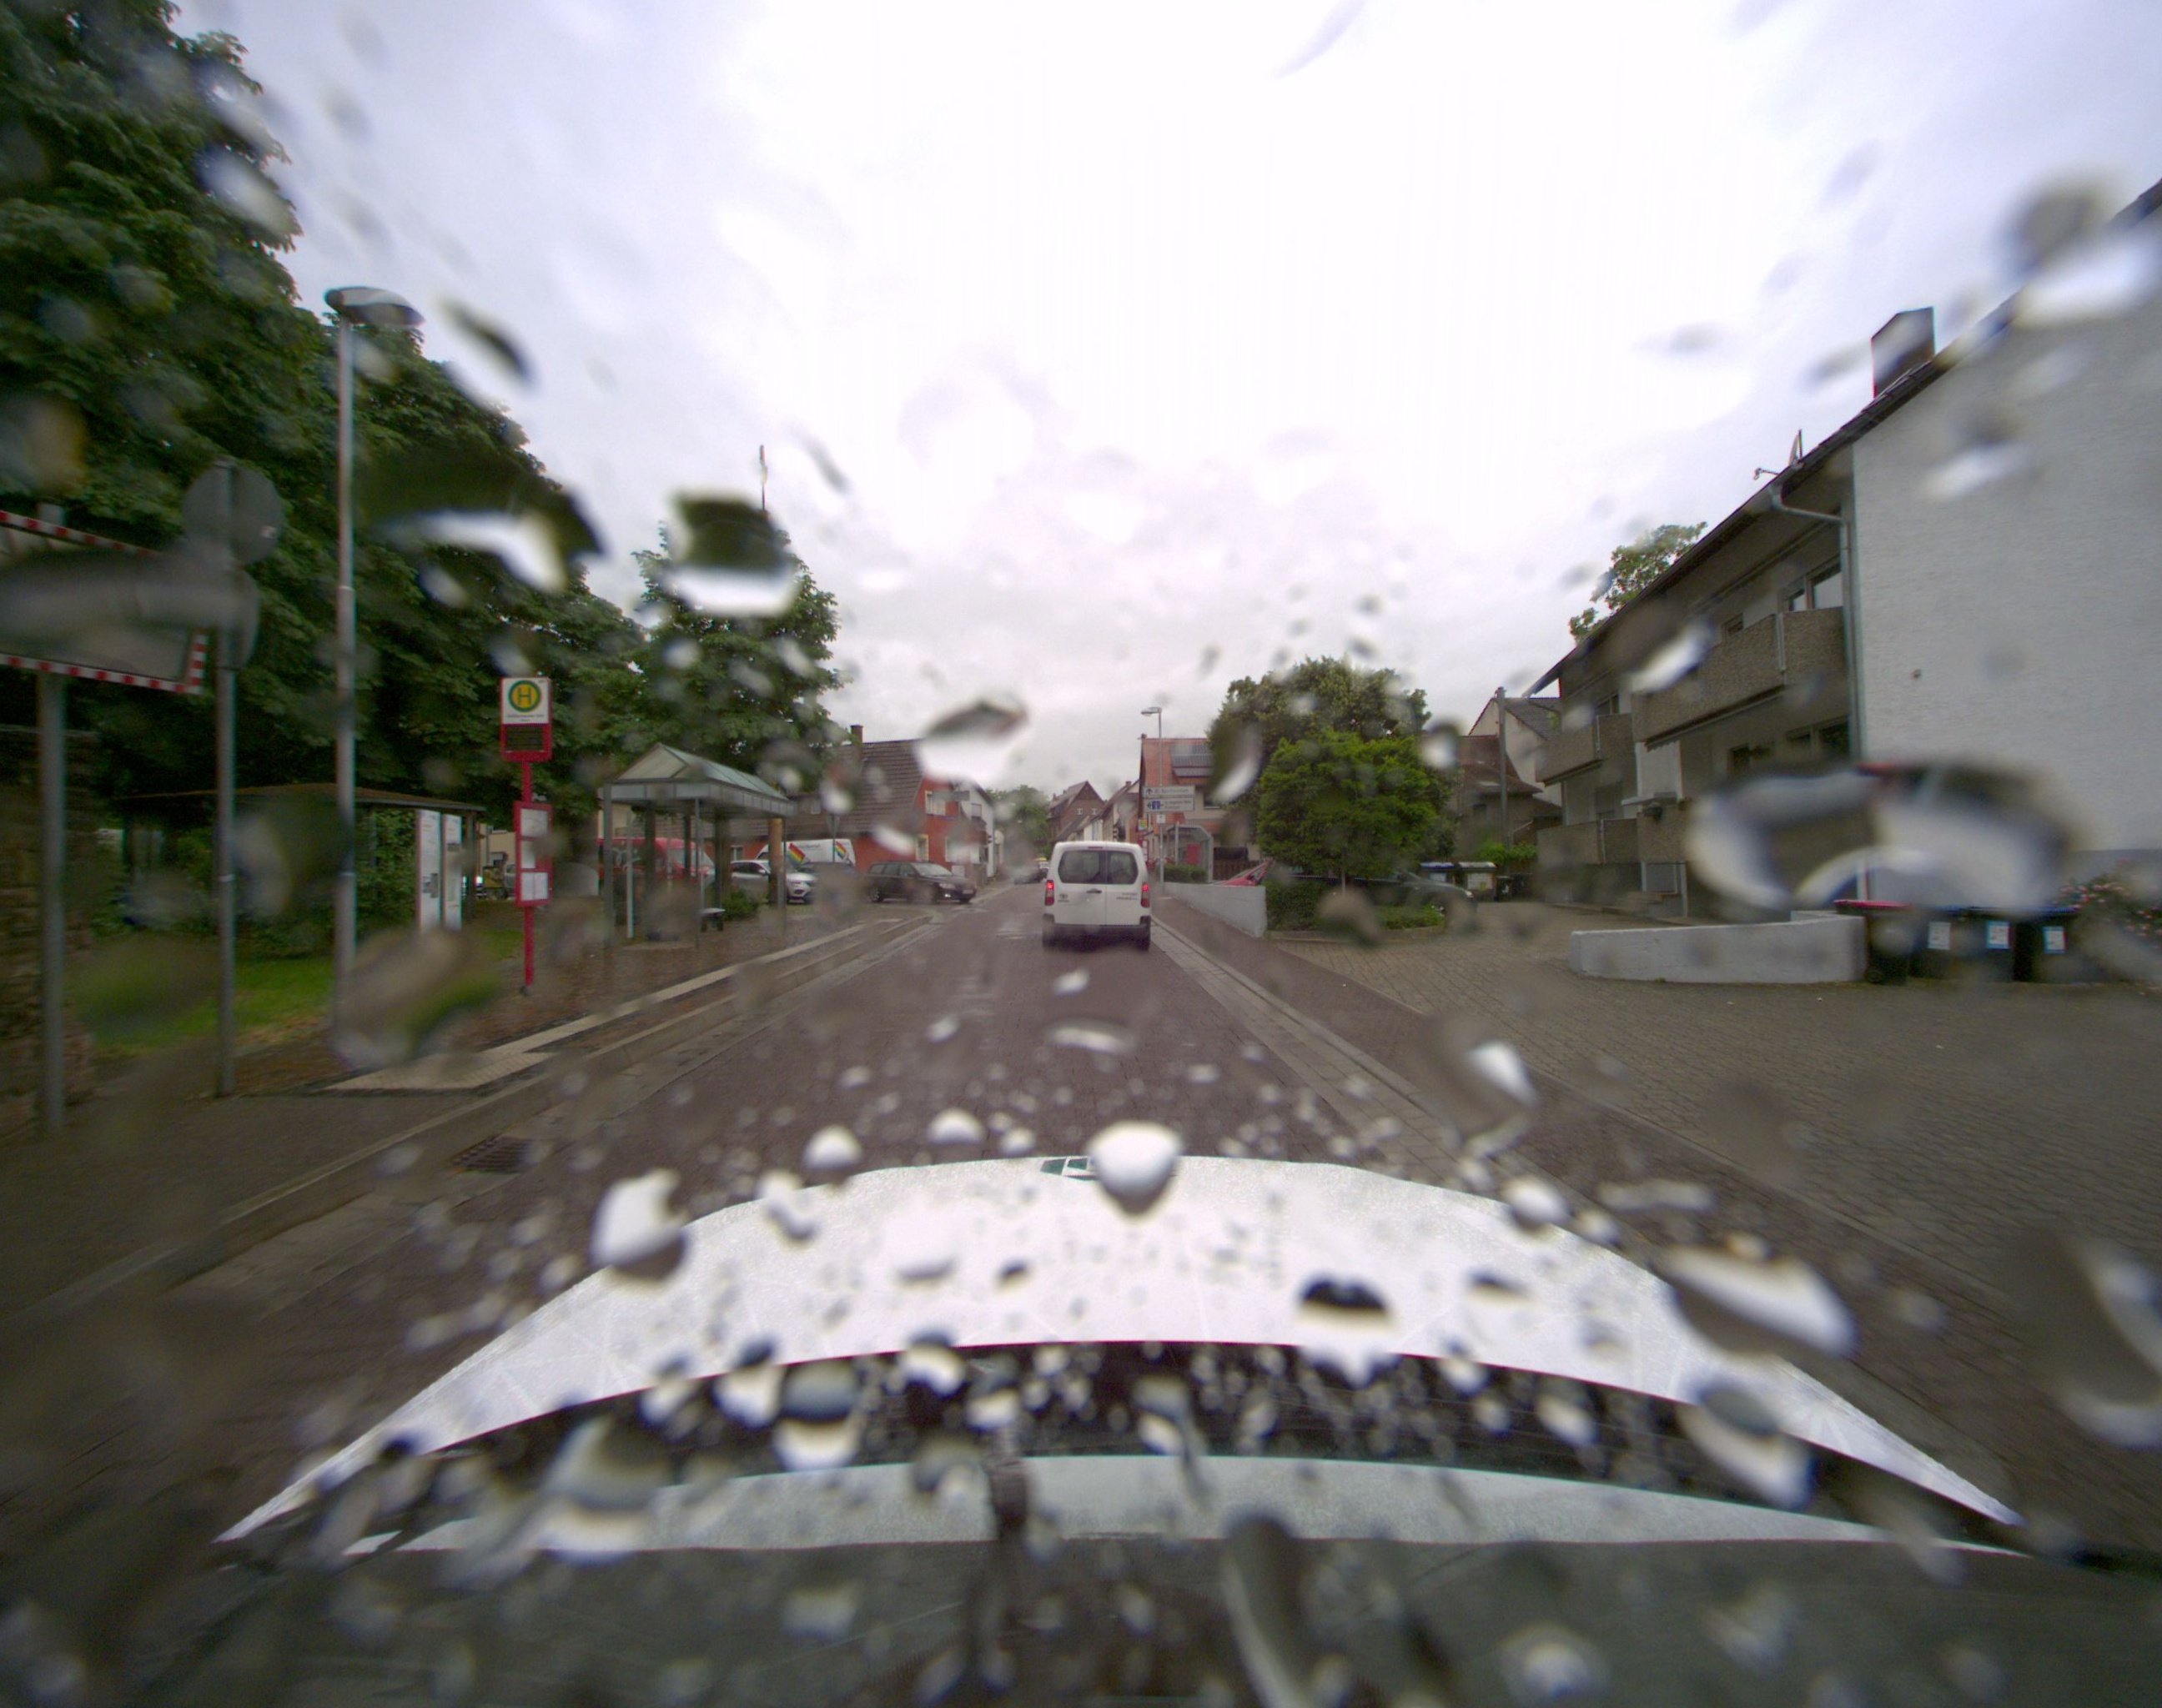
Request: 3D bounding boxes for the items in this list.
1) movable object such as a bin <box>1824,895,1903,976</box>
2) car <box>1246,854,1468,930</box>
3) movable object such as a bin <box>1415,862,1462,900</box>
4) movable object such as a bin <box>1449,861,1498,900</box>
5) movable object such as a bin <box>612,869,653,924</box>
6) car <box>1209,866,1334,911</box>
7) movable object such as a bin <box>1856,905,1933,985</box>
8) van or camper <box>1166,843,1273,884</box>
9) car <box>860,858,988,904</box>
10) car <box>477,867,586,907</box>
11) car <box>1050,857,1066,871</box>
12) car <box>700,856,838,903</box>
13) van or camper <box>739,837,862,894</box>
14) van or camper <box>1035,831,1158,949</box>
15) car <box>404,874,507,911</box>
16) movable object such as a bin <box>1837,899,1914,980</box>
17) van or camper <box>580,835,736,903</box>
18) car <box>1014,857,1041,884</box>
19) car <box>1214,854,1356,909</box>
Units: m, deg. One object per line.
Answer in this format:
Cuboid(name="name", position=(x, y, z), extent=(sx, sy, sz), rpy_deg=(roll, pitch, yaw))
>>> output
Cuboid(name="movable object such as a bin", position=(11.575, 1.183, 12.065), extent=(0.618, 1.118, 0.694), rpy_deg=(0, -1, 21))
Cuboid(name="car", position=(5.665, 0.778, 17.117), extent=(4.198, 1.480, 1.701), rpy_deg=(-1, -1, 13))
Cuboid(name="movable object such as a bin", position=(12.975, 0.977, 29.588), extent=(1.238, 1.357, 1.155), rpy_deg=(0, 0, 0))
Cuboid(name="movable object such as a bin", position=(14.252, 0.947, 29.579), extent=(1.238, 1.357, 1.155), rpy_deg=(0, 0, 0))
Cuboid(name="movable object such as a bin", position=(-9.600, 0.911, 17.454), extent=(0.561, 1.146, 0.603), rpy_deg=(-1, -2, -4))
Cuboid(name="car", position=(6.362, 1.151, 27.609), extent=(3.931, 1.378, 1.755), rpy_deg=(-1, 0, 6))
Cuboid(name="movable object such as a bin", position=(10.626, 1.170, 10.655), extent=(0.617, 0.948, 0.660), rpy_deg=(0, -1, 37))
Cuboid(name="van or camper", position=(6.944, 0.488, 41.131), extent=(5.060, 1.923, 1.873), rpy_deg=(1, -1, -5))
Cuboid(name="car", position=(-5.528, 0.894, 28.513), extent=(4.259, 1.477, 1.861), rpy_deg=(0, 0, 32))
Cuboid(name="car", position=(-22.575, 1.354, 33.477), extent=(3.768, 1.550, 1.809), rpy_deg=(-2, -2, 19))
Cuboid(name="car", position=(-3.229, 1.420, 113.074), extent=(1.989, 1.747, 3.995), rpy_deg=(1, 1, -4))
Cuboid(name="car", position=(-11.171, 0.874, 29.220), extent=(4.410, 1.550, 1.891), rpy_deg=(1, 0, 19))
Cuboid(name="van or camper", position=(-12.818, 0.539, 37.258), extent=(5.096, 2.435, 2.224), rpy_deg=(-2, 0, 24))
Cuboid(name="van or camper", position=(0.165, 0.582, 14.829), extent=(1.939, 1.851, 3.996), rpy_deg=(0, 0, -2))
Cuboid(name="car", position=(-27.024, 1.664, 35.185), extent=(3.766, 1.550, 1.810), rpy_deg=(-2, -2, 21))
Cuboid(name="movable object such as a bin", position=(11.152, 1.179, 11.449), extent=(0.618, 1.066, 0.573), rpy_deg=(0, -1, 25))
Cuboid(name="van or camper", position=(-16.413, 0.550, 31.570), extent=(5.806, 2.473, 2.167), rpy_deg=(0, 0, 23))
Cuboid(name="car", position=(-3.709, 1.105, 57.179), extent=(1.808, 1.779, 4.013), rpy_deg=(-2, 0, -3))
Cuboid(name="car", position=(6.199, 0.823, 25.012), extent=(4.040, 1.589, 1.864), rpy_deg=(-1, -1, 12))
